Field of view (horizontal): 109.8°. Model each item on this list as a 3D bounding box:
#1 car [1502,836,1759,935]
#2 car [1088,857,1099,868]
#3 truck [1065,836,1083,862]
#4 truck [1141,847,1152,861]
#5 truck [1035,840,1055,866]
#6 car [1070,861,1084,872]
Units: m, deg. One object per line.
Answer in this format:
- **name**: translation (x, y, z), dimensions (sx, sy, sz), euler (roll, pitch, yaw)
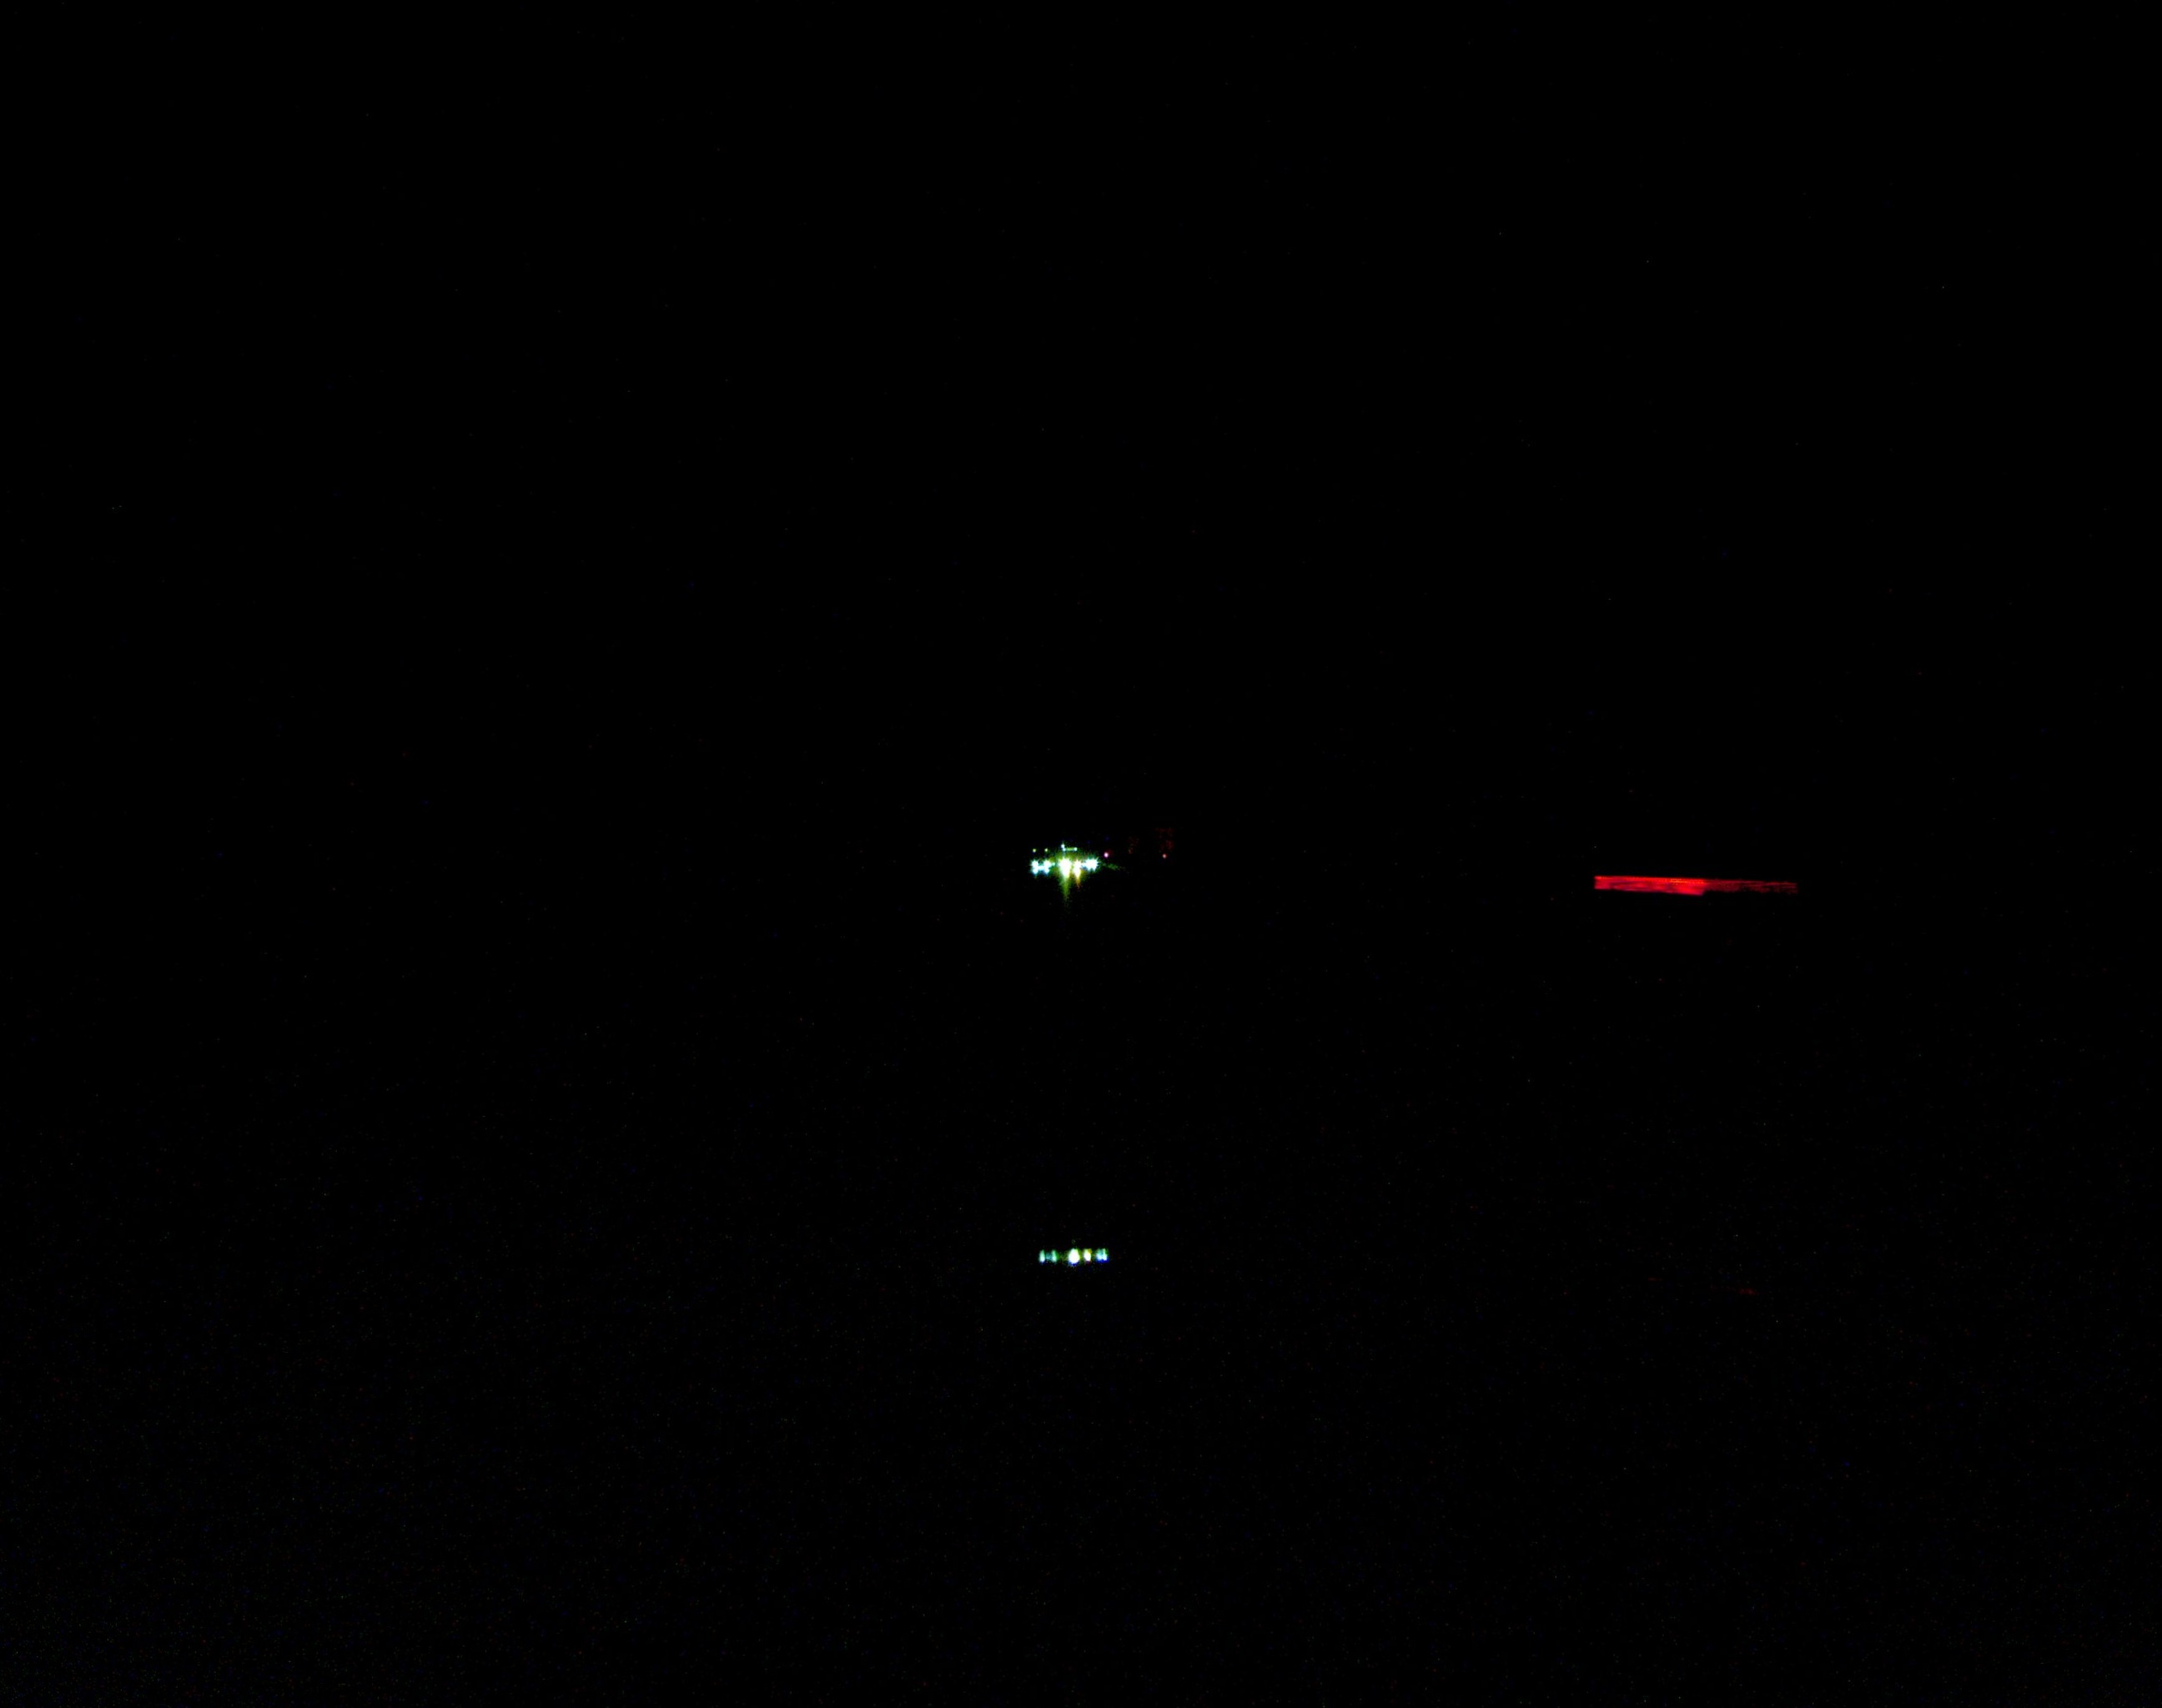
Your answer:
- **car**: translation (12.114, 0.657, 17.396), dimensions (1.913, 1.911, 5.458), euler (0, -1, -1)
- **car**: translation (3.616, 2.500, 221.110), dimensions (2.859, 2.795, 5.942), euler (-3, -1, 2)
- **truck**: translation (-1.188, -0.794, 131.588), dimensions (2.668, 4.181, 6.724), euler (-3, -1, 2)
- **truck**: translation (21.026, 0.088, 244.137), dimensions (3.120, 4.177, 16.985), euler (1, -1, 3)
- **truck**: translation (-6.044, -0.084, 128.699), dimensions (2.597, 4.048, 7.676), euler (-3, -1, 2)
- **car**: translation (-0.524, 1.689, 101.467), dimensions (1.701, 1.379, 3.502), euler (-3, -1, 1)
